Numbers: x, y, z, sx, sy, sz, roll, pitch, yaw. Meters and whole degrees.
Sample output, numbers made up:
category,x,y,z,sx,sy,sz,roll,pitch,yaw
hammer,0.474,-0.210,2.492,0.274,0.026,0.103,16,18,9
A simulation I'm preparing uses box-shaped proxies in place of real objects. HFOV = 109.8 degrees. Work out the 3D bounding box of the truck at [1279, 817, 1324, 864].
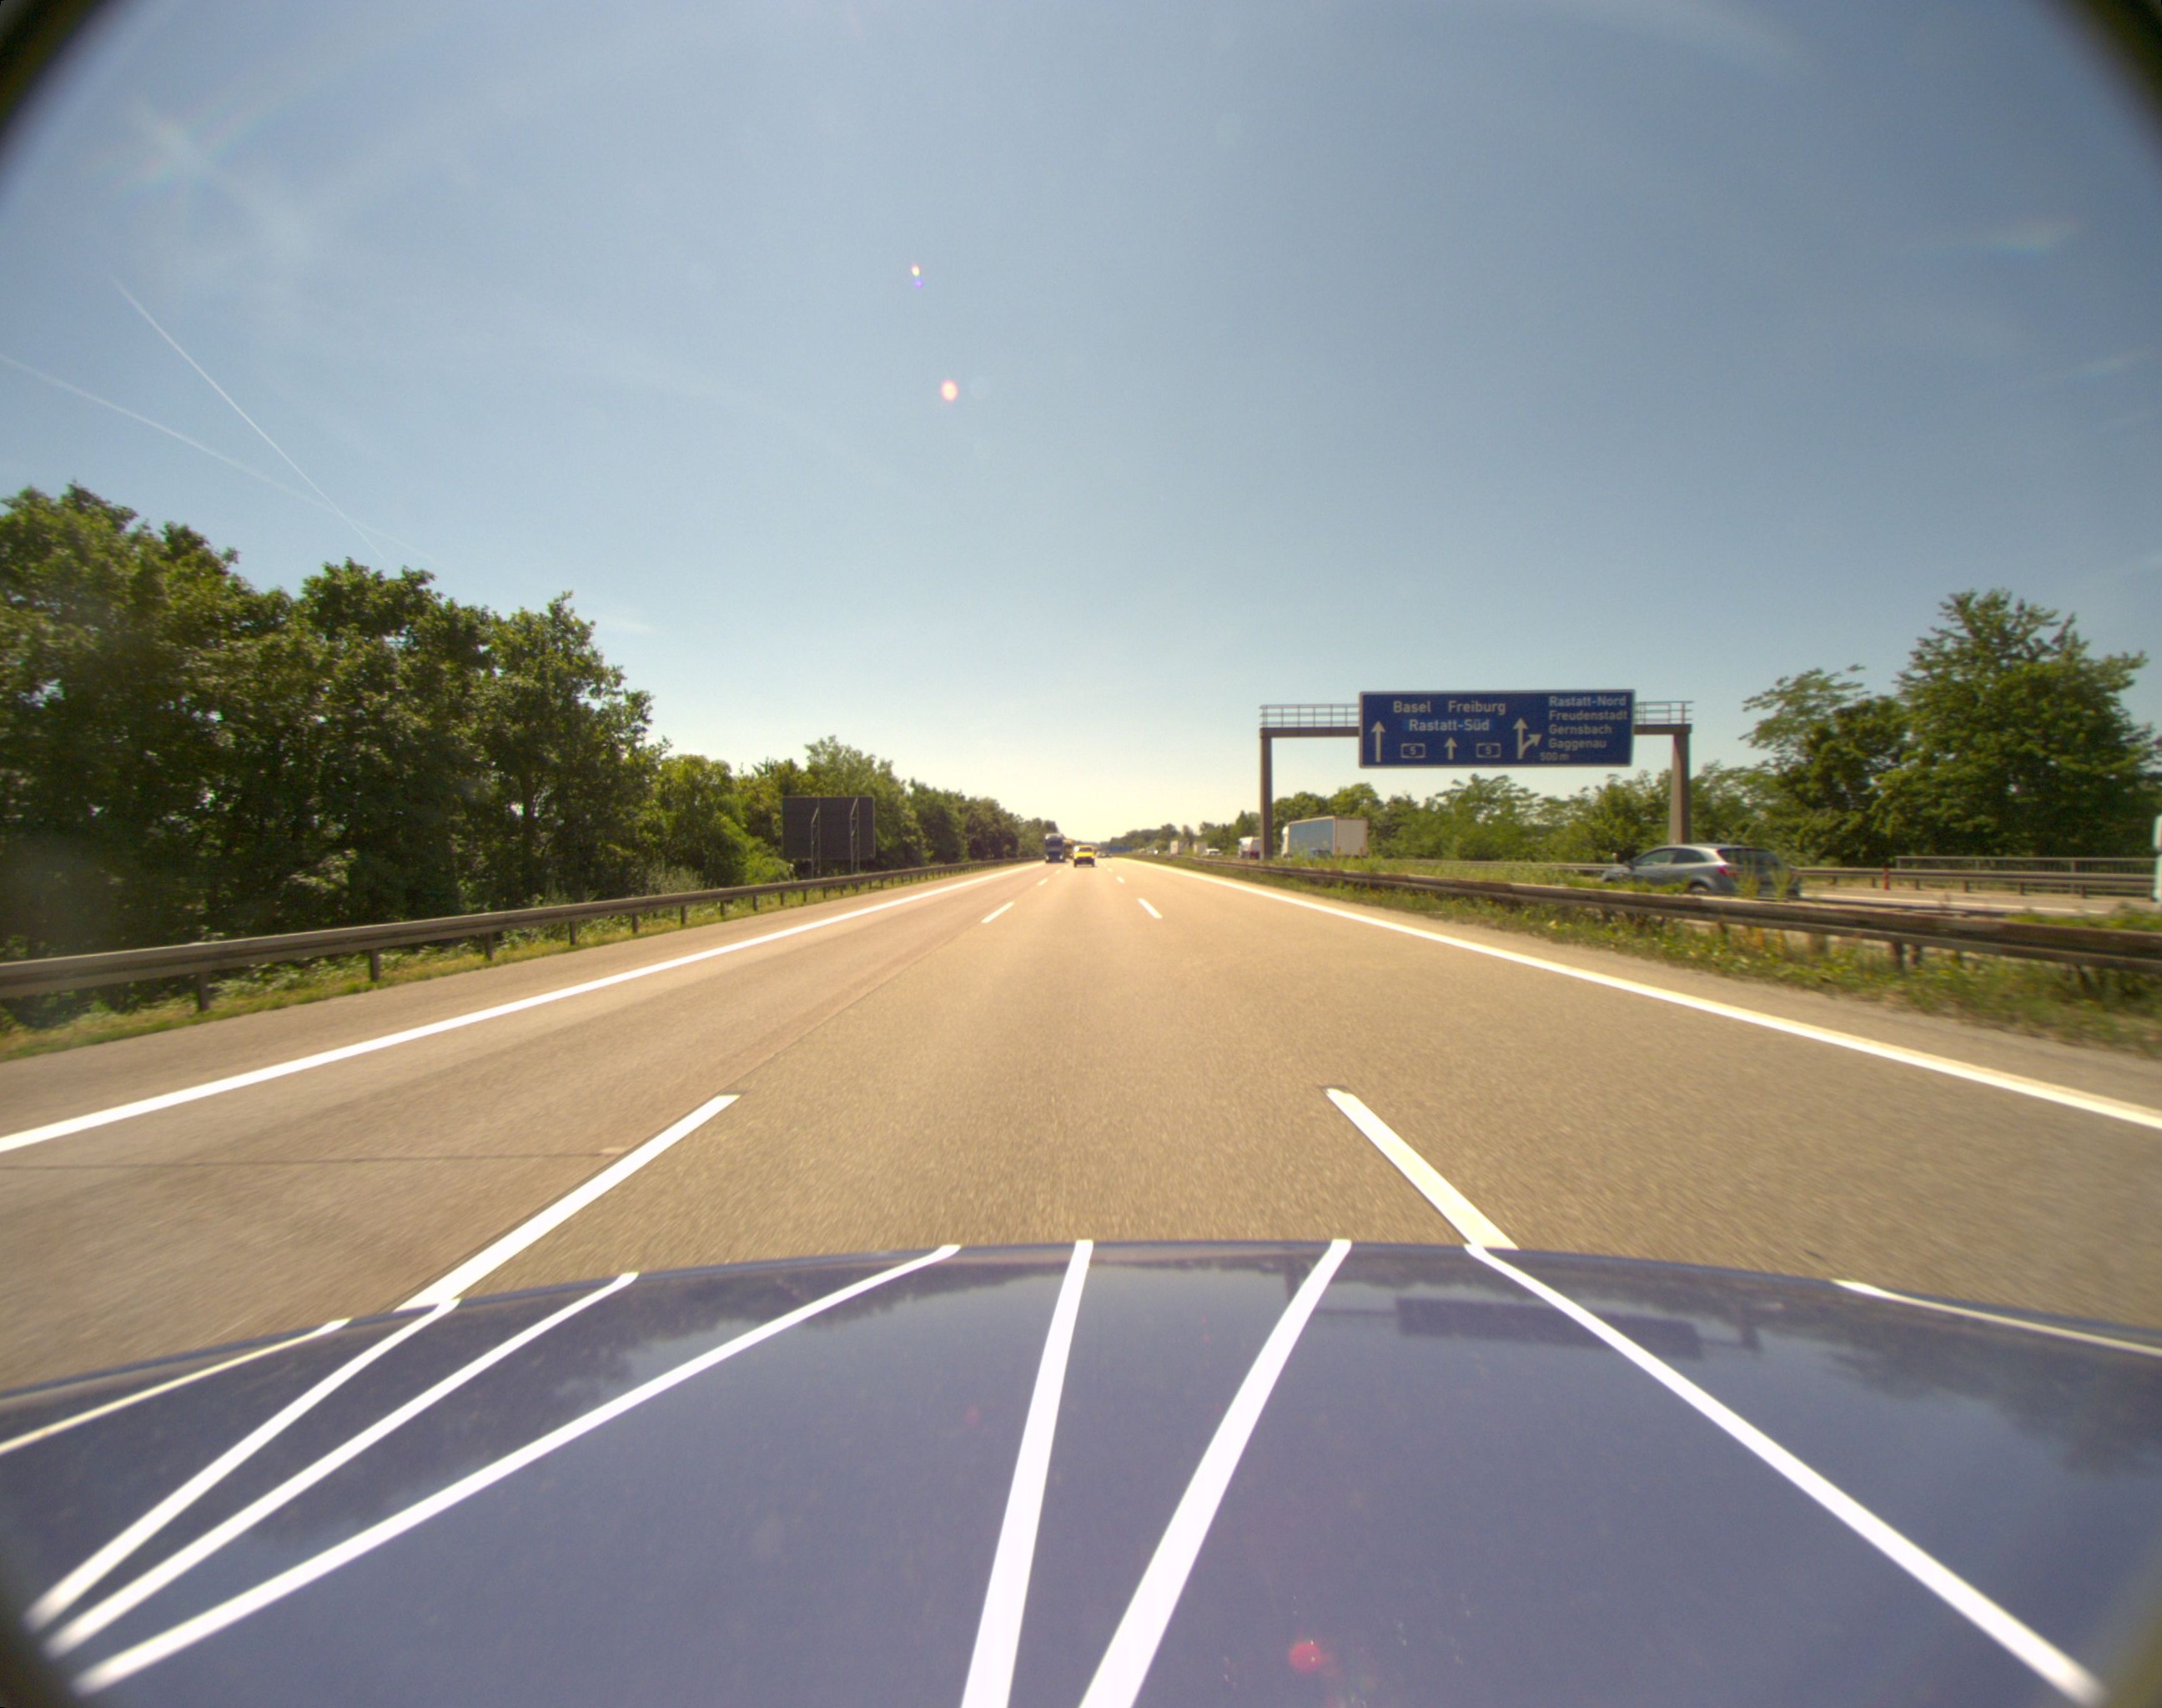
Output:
category,x,y,z,sx,sy,sz,roll,pitch,yaw
truck,21.128,-1.279,73.083,2.750,4.278,5.054,-2,1,1

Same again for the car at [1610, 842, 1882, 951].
category,x,y,z,sx,sy,sz,roll,pitch,yaw
car,13.015,0.723,15.276,1.998,1.880,4.000,-1,1,1

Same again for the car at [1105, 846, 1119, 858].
category,x,y,z,sx,sy,sz,roll,pitch,yaw
car,6.540,-0.473,159.406,2.686,2.510,5.967,-1,1,1

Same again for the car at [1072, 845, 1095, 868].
category,x,y,z,sx,sy,sz,roll,pitch,yaw
car,0.277,0.169,69.477,1.955,2.002,5.432,-1,1,1

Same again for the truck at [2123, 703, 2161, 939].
category,x,y,z,sx,sy,sz,roll,pitch,yaw
truck,20.554,-0.606,11.333,2.750,4.183,5.295,-2,1,0

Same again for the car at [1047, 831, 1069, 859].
category,x,y,z,sx,sy,sz,roll,pitch,yaw
car,-3.090,-1.229,103.188,2.686,3.724,6.270,-1,1,1

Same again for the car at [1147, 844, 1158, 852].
category,x,y,z,sx,sy,sz,roll,pitch,yaw
car,19.956,-1.633,212.666,2.489,2.002,4.557,-2,1,1

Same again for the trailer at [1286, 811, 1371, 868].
category,x,y,z,sx,sy,sz,roll,pitch,yaw
trailer,21.056,-1.194,65.810,2.750,4.282,13.946,-2,1,1

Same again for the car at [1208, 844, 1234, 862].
category,x,y,z,sx,sy,sz,roll,pitch,yaw
car,14.240,-0.096,77.460,1.998,1.712,4.000,-1,1,1

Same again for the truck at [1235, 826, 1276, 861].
category,x,y,z,sx,sy,sz,roll,pitch,yaw
truck,21.905,-1.268,95.906,3.243,4.111,8.606,-2,1,1

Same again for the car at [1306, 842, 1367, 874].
category,x,y,z,sx,sy,sz,roll,pitch,yaw
car,13.797,0.195,41.302,1.998,1.628,4.000,-1,1,1

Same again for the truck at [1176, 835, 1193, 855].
category,x,y,z,sx,sy,sz,roll,pitch,yaw
truck,23.870,-2.112,175.521,2.937,4.328,8.240,-2,1,1

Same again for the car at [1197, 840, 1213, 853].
category,x,y,z,sx,sy,sz,roll,pitch,yaw
car,24.440,-1.493,150.130,2.370,2.522,4.518,-1,1,1
